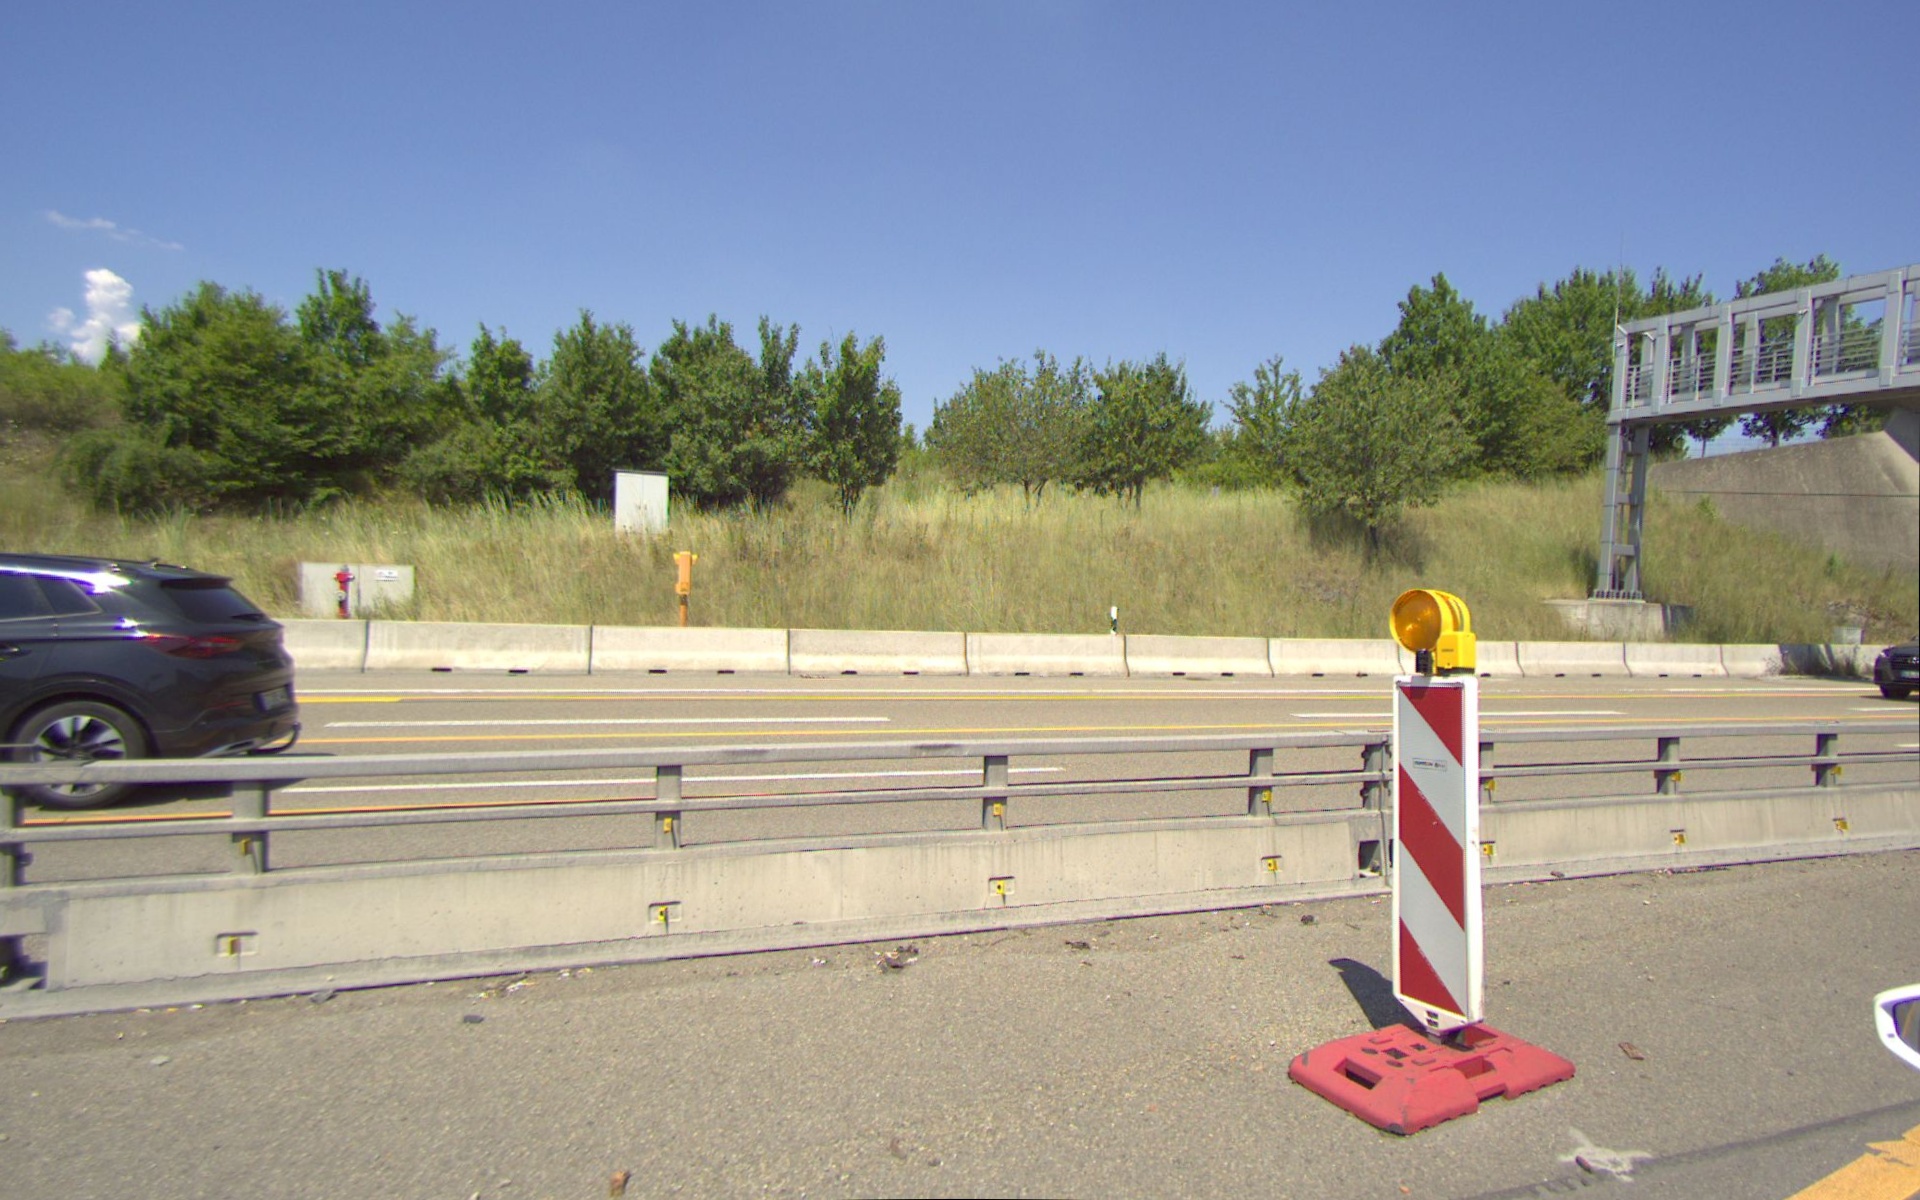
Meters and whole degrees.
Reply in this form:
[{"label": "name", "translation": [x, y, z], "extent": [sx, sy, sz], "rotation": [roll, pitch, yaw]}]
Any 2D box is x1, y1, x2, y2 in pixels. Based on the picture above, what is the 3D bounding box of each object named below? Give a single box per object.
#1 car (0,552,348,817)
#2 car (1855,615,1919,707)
[{"label": "car", "translation": [-6.741, 0.487, 6.725], "extent": [4.160, 1.615, 1.742], "rotation": [2, 0, -17]}, {"label": "car", "translation": [20.718, 1.233, 20.320], "extent": [4.792, 1.750, 1.772], "rotation": [1, 0, -19]}]
